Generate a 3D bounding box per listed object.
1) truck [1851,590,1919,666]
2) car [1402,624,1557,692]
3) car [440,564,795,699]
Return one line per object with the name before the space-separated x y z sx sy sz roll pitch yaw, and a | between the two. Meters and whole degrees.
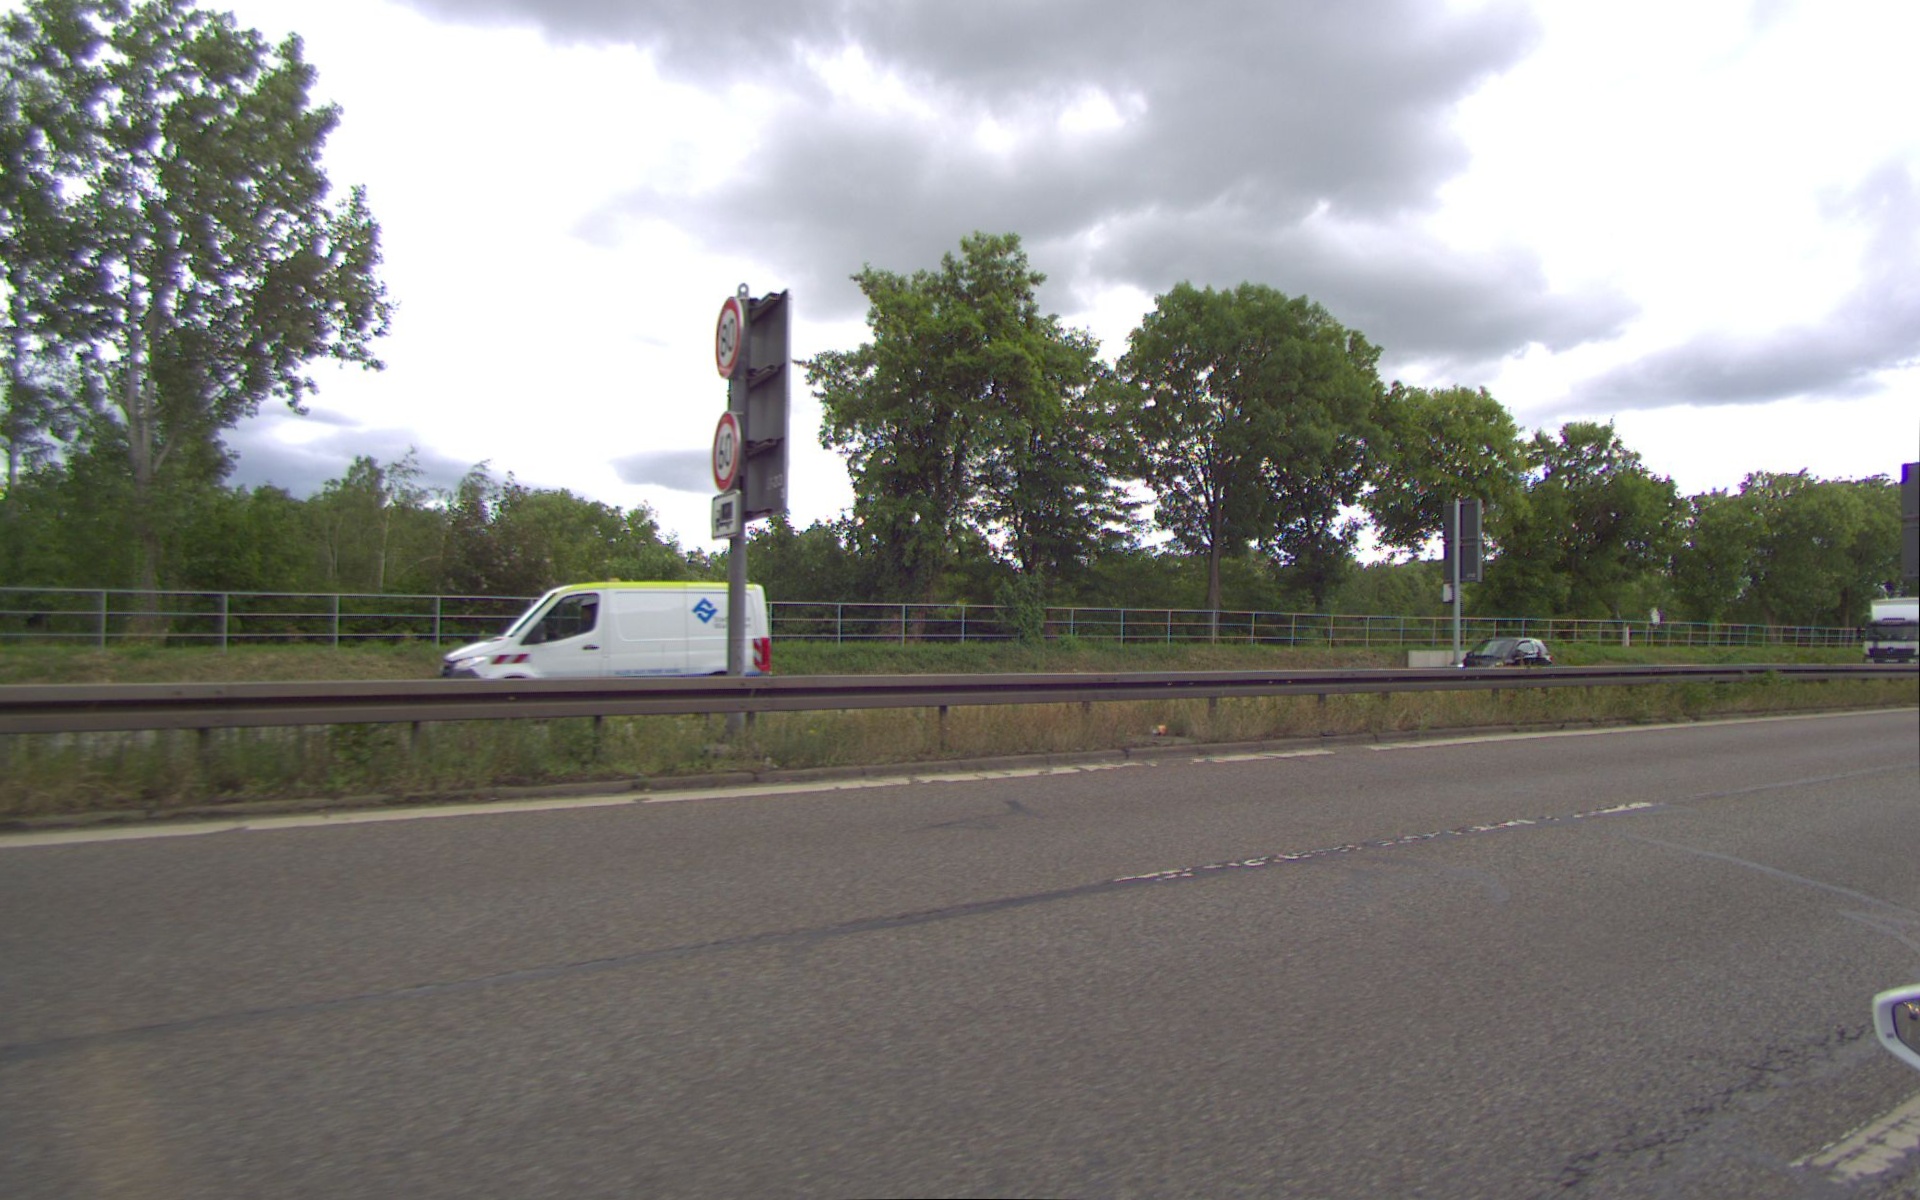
truck | 48.996 1.493 51.167 9.481 3.626 2.874 2 -2 -32
car | 14.495 1.550 27.987 4.094 1.747 1.871 1 -1 -28
car | -5.735 0.548 16.995 5.405 1.973 2.217 1 -2 -28
